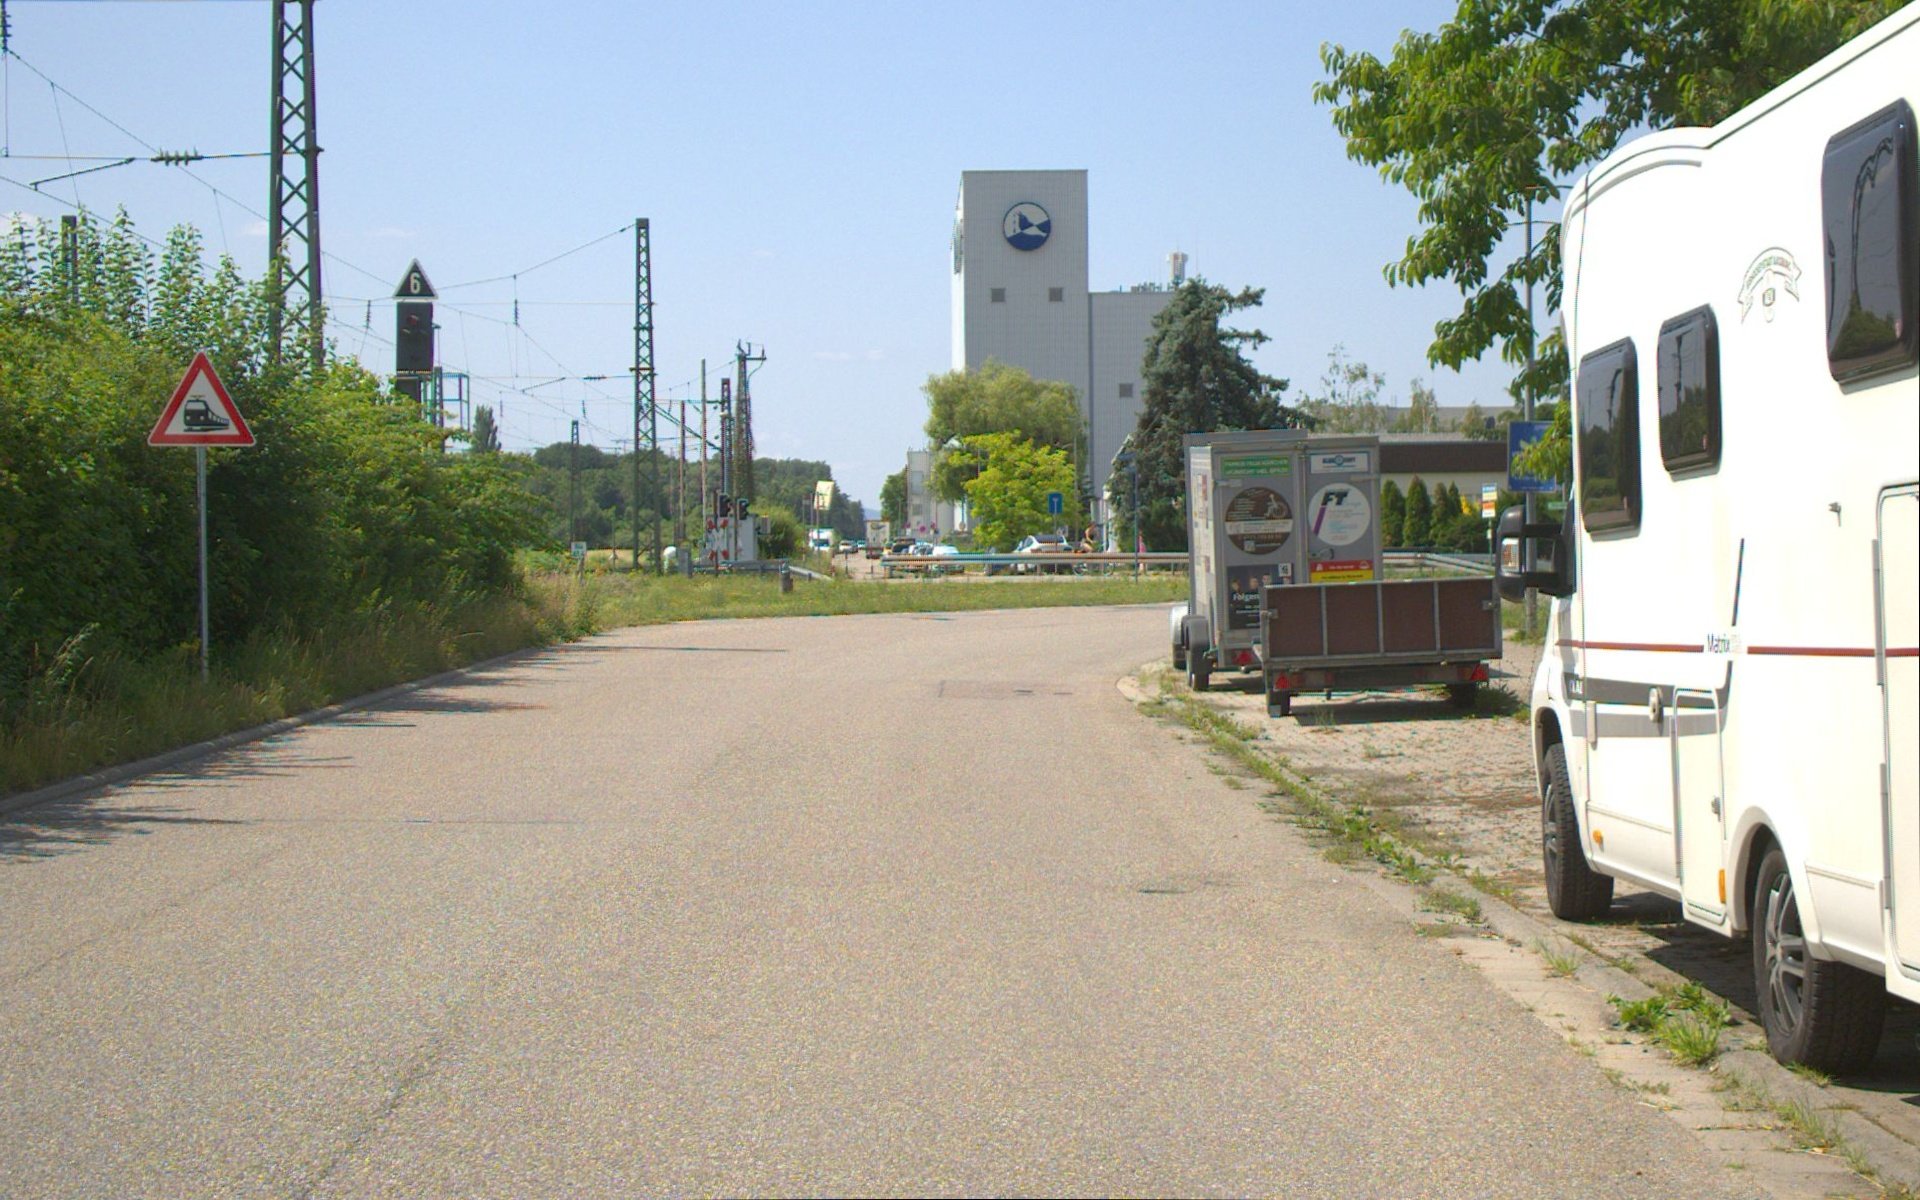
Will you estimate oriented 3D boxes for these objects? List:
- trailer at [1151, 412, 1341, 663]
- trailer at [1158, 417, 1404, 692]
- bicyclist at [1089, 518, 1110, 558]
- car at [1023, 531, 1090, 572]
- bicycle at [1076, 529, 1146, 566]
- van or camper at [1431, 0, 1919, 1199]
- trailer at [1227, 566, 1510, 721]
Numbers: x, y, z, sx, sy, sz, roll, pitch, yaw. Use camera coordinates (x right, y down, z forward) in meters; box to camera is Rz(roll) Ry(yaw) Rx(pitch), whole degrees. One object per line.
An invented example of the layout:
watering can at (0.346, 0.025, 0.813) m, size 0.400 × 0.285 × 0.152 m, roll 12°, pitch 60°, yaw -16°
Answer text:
trailer at (3.347, -0.745, 40.011) m, size 1.933 × 2.635 × 5.183 m, roll -3°, pitch 1°, yaw 5°
trailer at (3.169, -0.483, 34.838) m, size 1.919 × 2.499 × 4.741 m, roll -3°, pitch 1°, yaw 0°
bicyclist at (4.418, -1.961, 109.029) m, size 0.510 × 1.251 × 0.468 m, roll 1°, pitch 2°, yaw 29°
car at (3.694, -1.879, 132.796) m, size 1.993 × 1.504 × 4.455 m, roll -1°, pitch 1°, yaw -6°
bicycle at (4.790, -1.662, 108.820) m, size 2.143 × 1.161 × 0.660 m, roll 1°, pitch 2°, yaw 29°
van or camper at (3.288, -0.165, 10.699) m, size 2.439 × 2.817 × 7.624 m, roll -2°, pitch 1°, yaw -1°
trailer at (3.398, 0.321, 29.395) m, size 2.005 × 1.119 × 4.488 m, roll -3°, pitch 1°, yaw 2°
